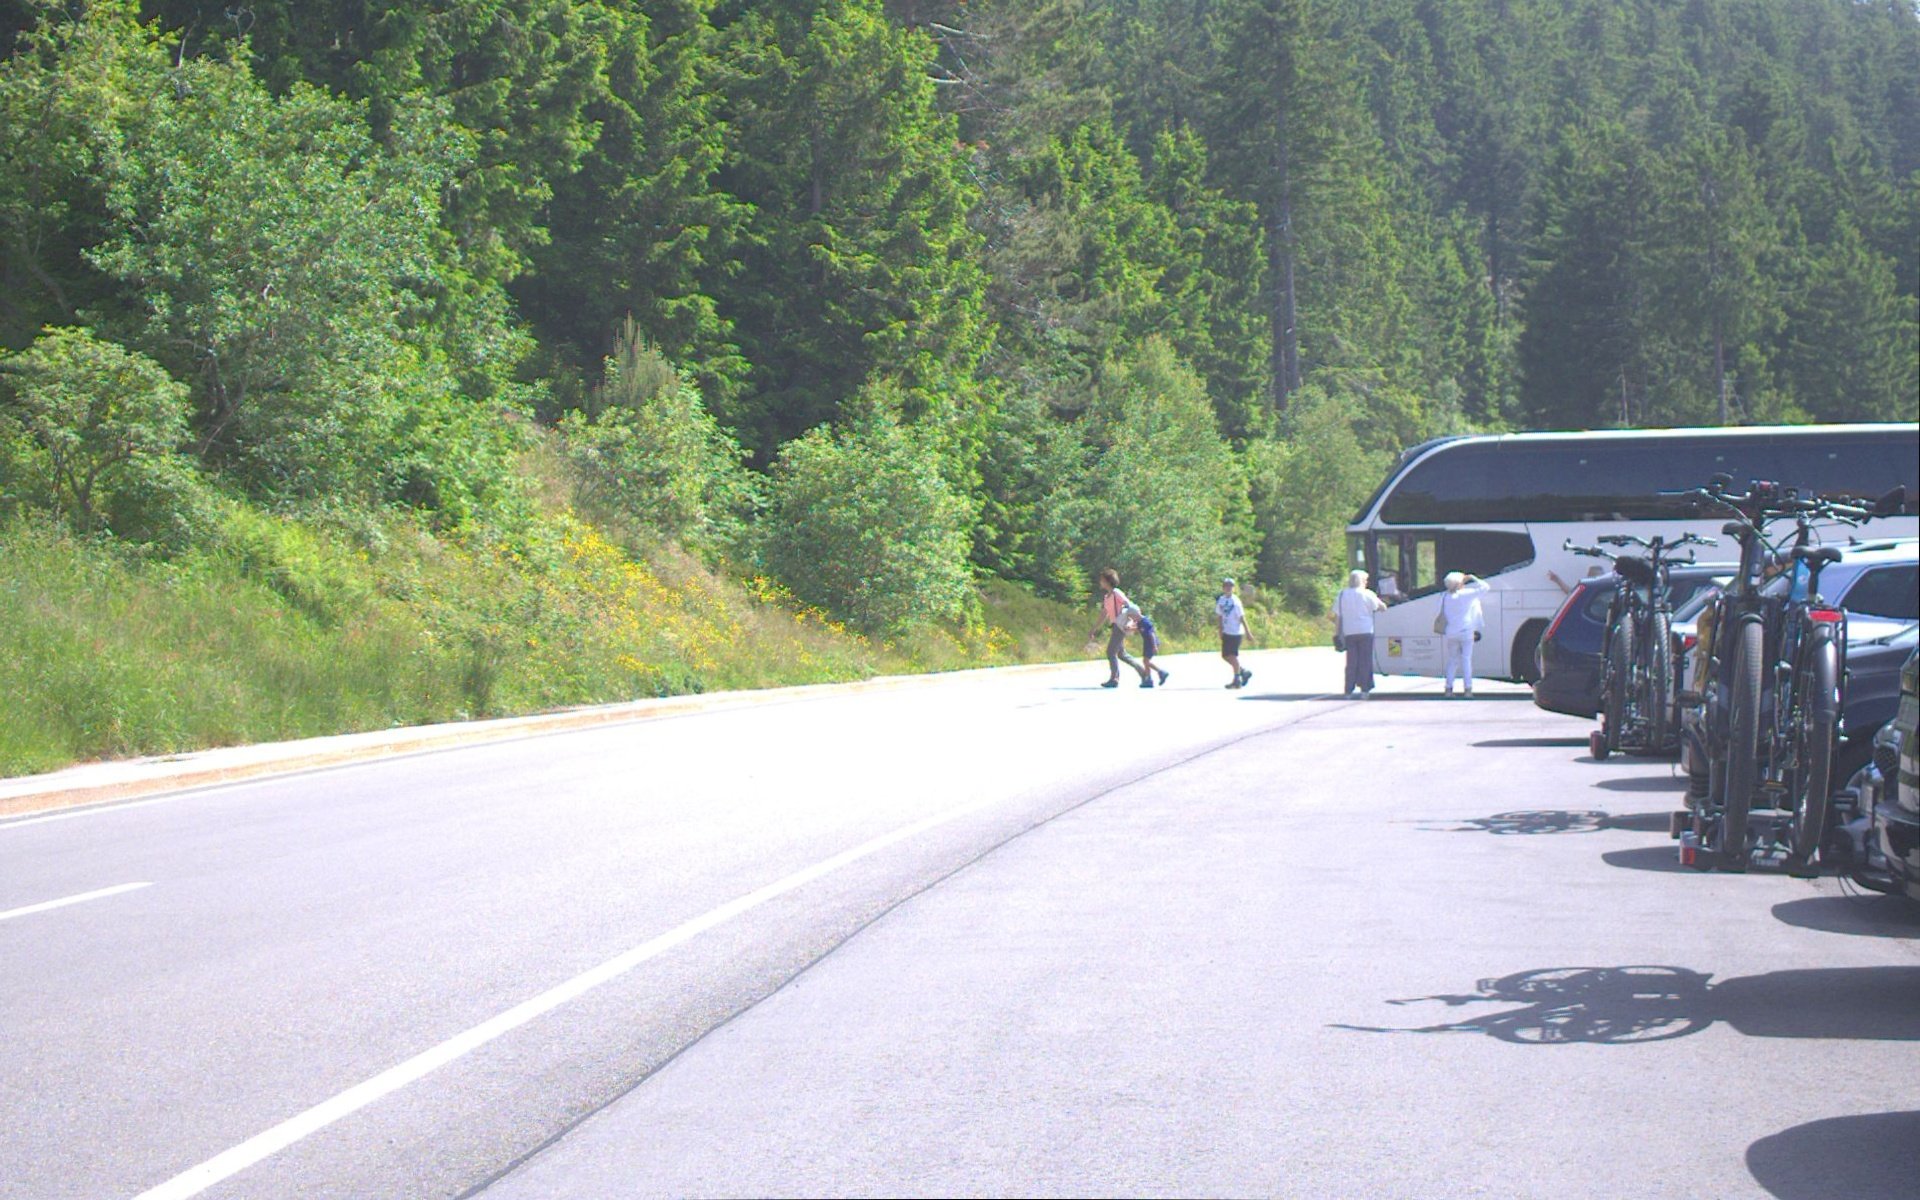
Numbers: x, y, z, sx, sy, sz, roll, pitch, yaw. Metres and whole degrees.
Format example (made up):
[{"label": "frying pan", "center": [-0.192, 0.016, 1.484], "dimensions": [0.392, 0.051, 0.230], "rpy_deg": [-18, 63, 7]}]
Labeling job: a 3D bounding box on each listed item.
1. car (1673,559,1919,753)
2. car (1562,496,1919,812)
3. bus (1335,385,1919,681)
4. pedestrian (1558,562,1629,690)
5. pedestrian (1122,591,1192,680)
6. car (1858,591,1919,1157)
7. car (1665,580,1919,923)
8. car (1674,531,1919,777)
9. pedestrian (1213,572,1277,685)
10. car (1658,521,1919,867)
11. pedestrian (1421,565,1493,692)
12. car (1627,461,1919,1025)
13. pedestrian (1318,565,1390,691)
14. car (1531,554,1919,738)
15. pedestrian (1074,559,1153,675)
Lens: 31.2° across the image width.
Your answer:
[{"label": "car", "center": [7.566, 0.380, 26.309], "dimensions": [3.988, 1.393, 1.619], "rpy_deg": [-2, 0, 8]}, {"label": "car", "center": [5.977, 0.236, 19.198], "dimensions": [5.035, 1.645, 2.047], "rpy_deg": [-2, 0, 8]}, {"label": "bus", "center": [11.646, -0.908, 44.314], "dimensions": [13.105, 3.520, 3.041], "rpy_deg": [-2, 0, 18]}, {"label": "pedestrian", "center": [8.039, 0.323, 43.621], "dimensions": [0.770, 1.579, 0.772], "rpy_deg": [-2, 0, 16]}, {"label": "pedestrian", "center": [2.887, 0.520, 50.416], "dimensions": [0.733, 1.275, 0.783], "rpy_deg": [-2, 0, -21]}, {"label": "car", "center": [4.375, 0.701, 8.083], "dimensions": [4.081, 1.372, 1.702], "rpy_deg": [1, 0, 2]}, {"label": "car", "center": [5.059, 0.528, 13.744], "dimensions": [4.245, 1.264, 1.837], "rpy_deg": [-2, 0, 8]}, {"label": "car", "center": [6.849, 0.303, 22.804], "dimensions": [3.988, 1.548, 1.659], "rpy_deg": [-2, 0, 8]}, {"label": "pedestrian", "center": [4.114, 0.405, 49.618], "dimensions": [0.854, 1.579, 0.818], "rpy_deg": [-2, 0, 3]}, {"label": "car", "center": [5.562, 0.374, 16.363], "dimensions": [4.245, 1.548, 1.837], "rpy_deg": [-2, 0, 8]}, {"label": "pedestrian", "center": [6.316, 0.358, 43.658], "dimensions": [0.771, 1.579, 0.772], "rpy_deg": [-2, 0, 15]}, {"label": "car", "center": [4.678, 0.380, 10.947], "dimensions": [4.951, 1.690, 1.944], "rpy_deg": [-1, 1, 10]}, {"label": "pedestrian", "center": [5.033, 0.355, 43.905], "dimensions": [0.771, 1.579, 0.772], "rpy_deg": [-2, 0, 15]}, {"label": "car", "center": [6.979, 0.373, 29.583], "dimensions": [3.988, 1.444, 1.860], "rpy_deg": [-2, 0, 8]}, {"label": "pedestrian", "center": [2.272, 0.249, 51.090], "dimensions": [0.853, 1.677, 0.870], "rpy_deg": [-2, 0, -20]}]
